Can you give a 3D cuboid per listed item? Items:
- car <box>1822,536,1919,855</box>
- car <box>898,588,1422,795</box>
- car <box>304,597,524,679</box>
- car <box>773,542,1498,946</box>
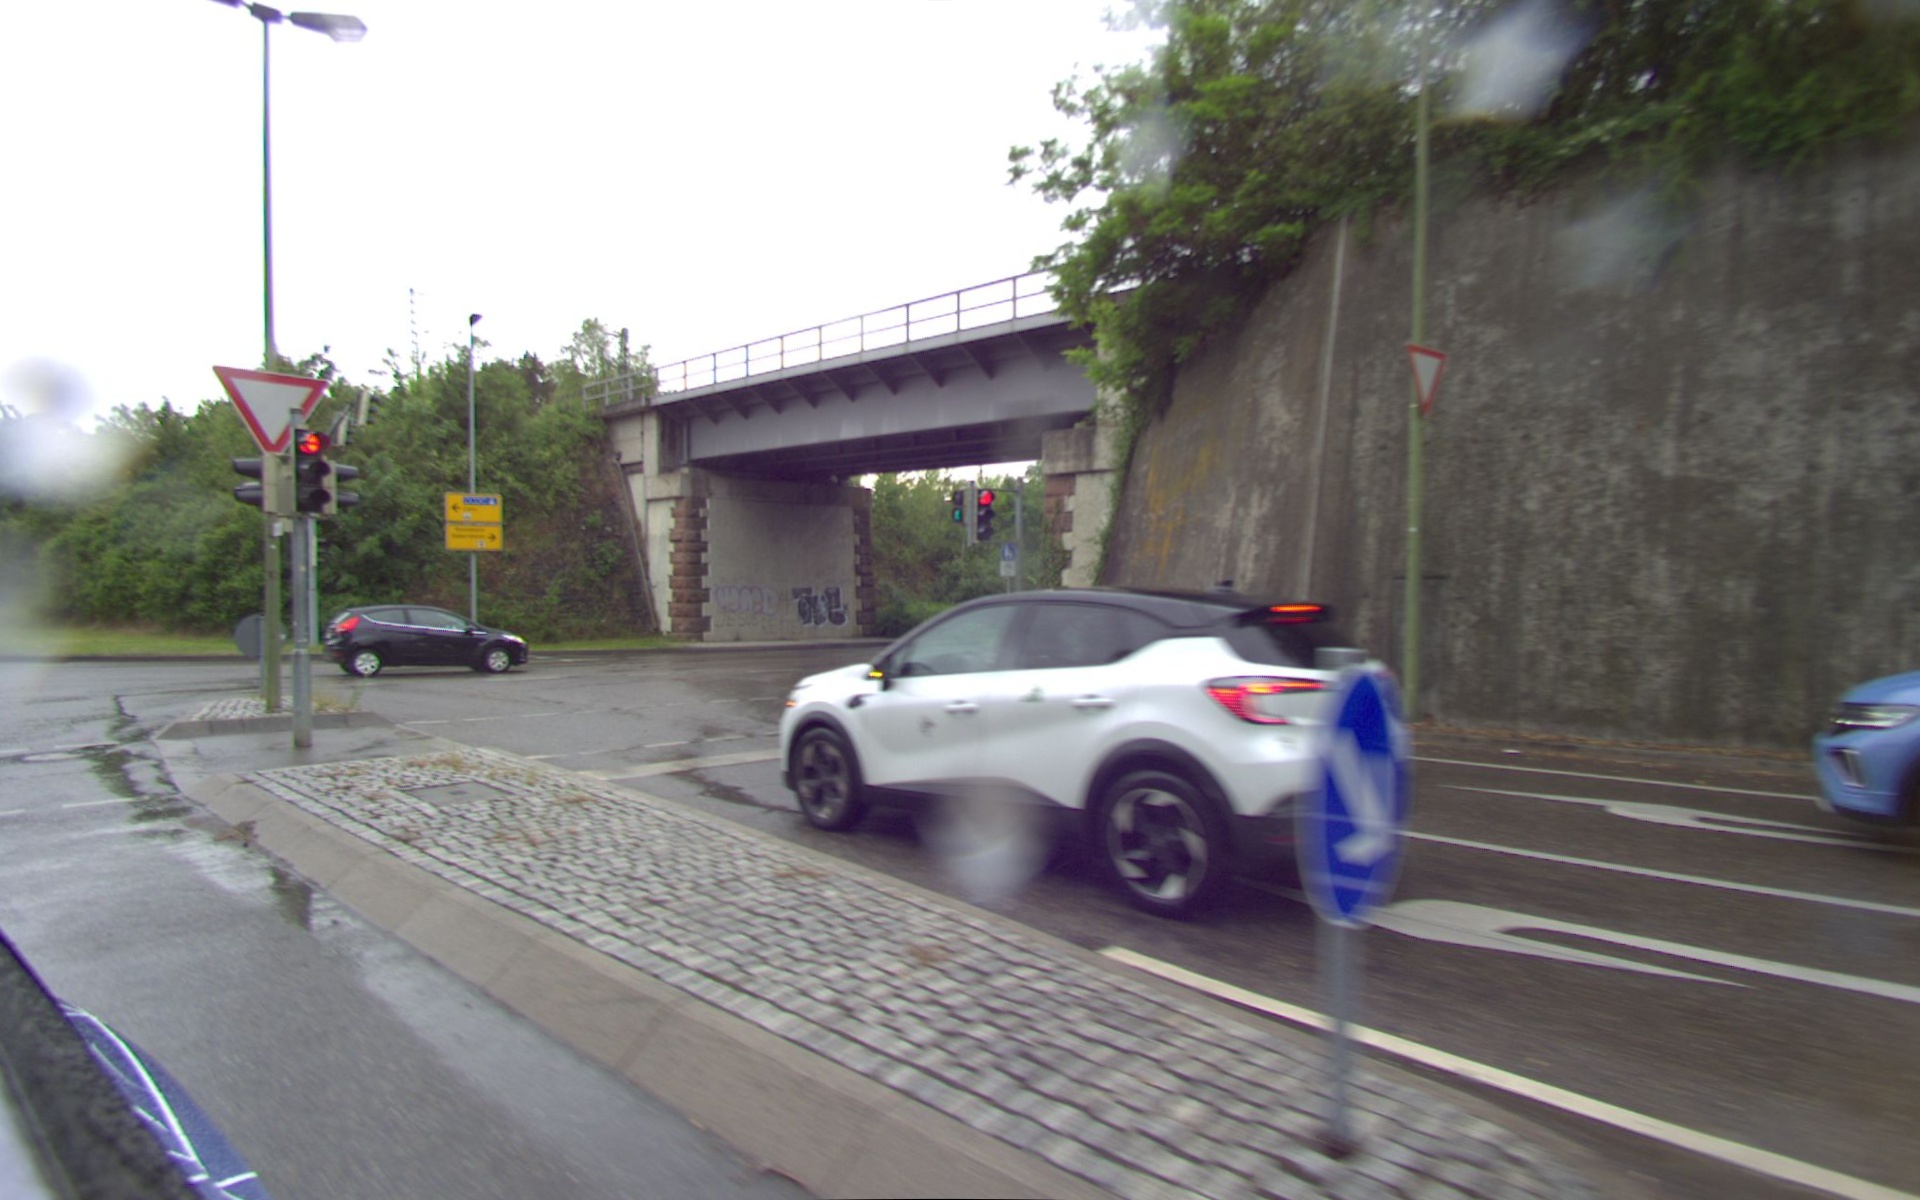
[{"bbox_3d":[6.796,0.538,4.734,1.793,1.670,4.054,4,-3,-43],"label":"car"},{"bbox_3d":[1.671,0.715,9.815,1.970,1.514,4.734,3,-2,-43],"label":"car"},{"bbox_3d":[-11.436,0.798,21.318,3.825,1.582,1.686,2,-2,-38],"label":"car"},{"bbox_3d":[0.790,0.600,6.127,4.002,1.613,1.847,-1,-1,45],"label":"car"}]
